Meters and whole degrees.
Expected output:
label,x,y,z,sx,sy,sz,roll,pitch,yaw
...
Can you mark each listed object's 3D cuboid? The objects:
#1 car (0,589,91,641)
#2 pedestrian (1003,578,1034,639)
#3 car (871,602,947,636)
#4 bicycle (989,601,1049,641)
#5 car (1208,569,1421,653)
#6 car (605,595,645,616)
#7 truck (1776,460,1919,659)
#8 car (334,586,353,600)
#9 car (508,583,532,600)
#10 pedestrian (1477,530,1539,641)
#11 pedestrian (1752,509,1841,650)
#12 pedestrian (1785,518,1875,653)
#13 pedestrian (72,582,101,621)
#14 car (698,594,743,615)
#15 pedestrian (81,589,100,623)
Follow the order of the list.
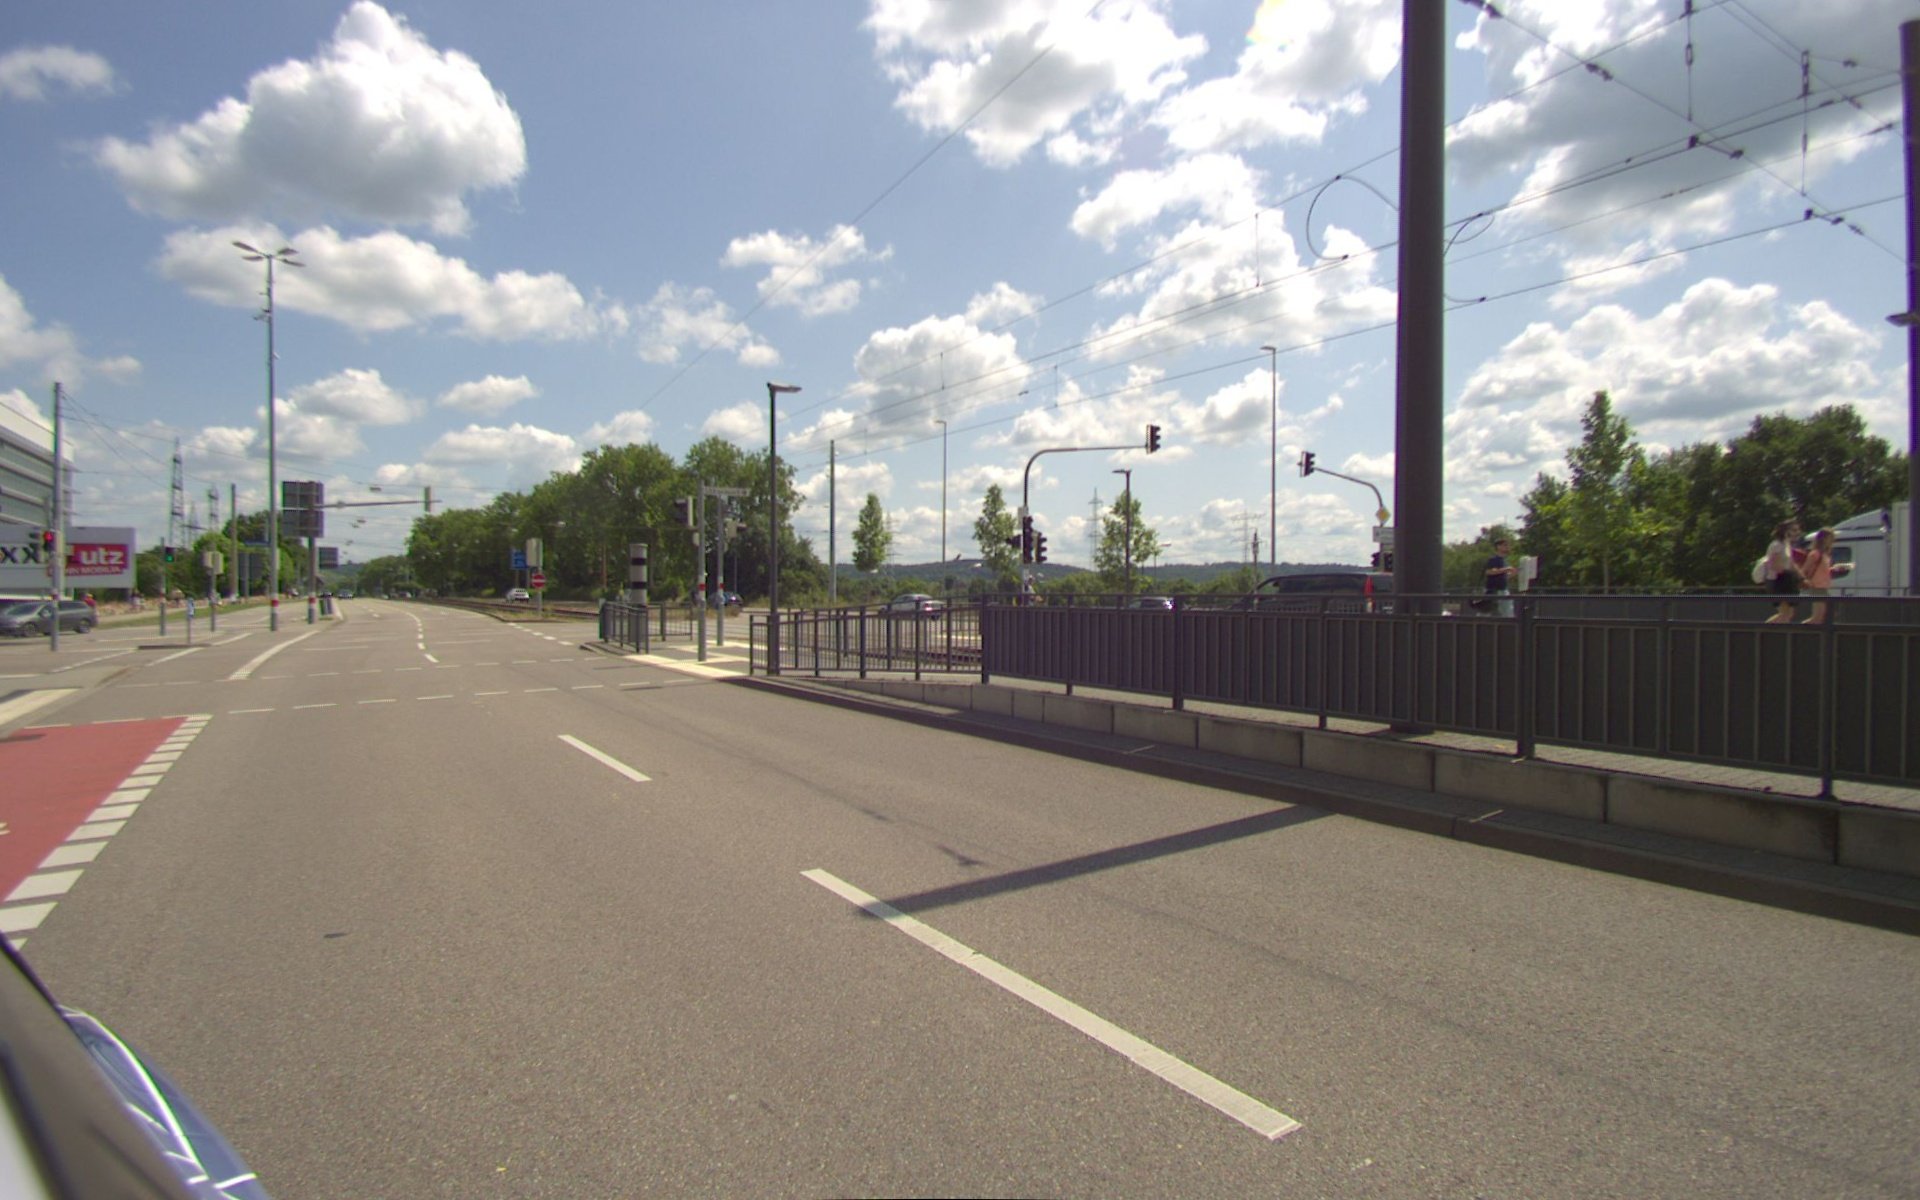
label,x,y,z,sx,sy,sz,roll,pitch,yaw
car,-38.730,0.635,42.390,1.966,2.029,4.011,-1,0,-15
pedestrian,1.720,0.244,29.800,0.661,1.782,0.615,-1,0,-30
car,-2.866,1.036,55.890,1.855,1.787,4.675,0,0,-39
bicycle,1.753,0.606,29.820,1.693,1.095,0.623,-1,0,-30
car,8.487,0.257,24.683,1.966,1.834,4.680,-1,0,-32
car,-29.204,0.488,88.188,1.784,1.671,4.331,6,-4,-38
truck,23.161,-0.869,18.889,2.903,4.135,12.029,-1,0,-34
car,-93.151,-1.000,152.898,1.965,2.029,4.013,-1,0,-25
car,-50.181,-0.951,115.526,1.966,1.821,5.150,-1,0,-16
pedestrian,8.814,-0.227,16.279,0.717,1.734,0.526,-1,-1,-28
pedestrian,10.807,-0.264,13.075,0.626,1.761,0.680,-3,1,-29
pedestrian,11.579,-0.184,13.474,0.590,1.734,0.710,-1,-1,-29
pedestrian,-42.904,0.066,49.706,0.795,1.851,0.858,2,2,30
car,-17.188,0.307,72.470,1.643,1.419,3.900,-1,1,-39
pedestrian,-46.677,0.315,54.336,0.587,1.824,0.536,-1,-1,-21
